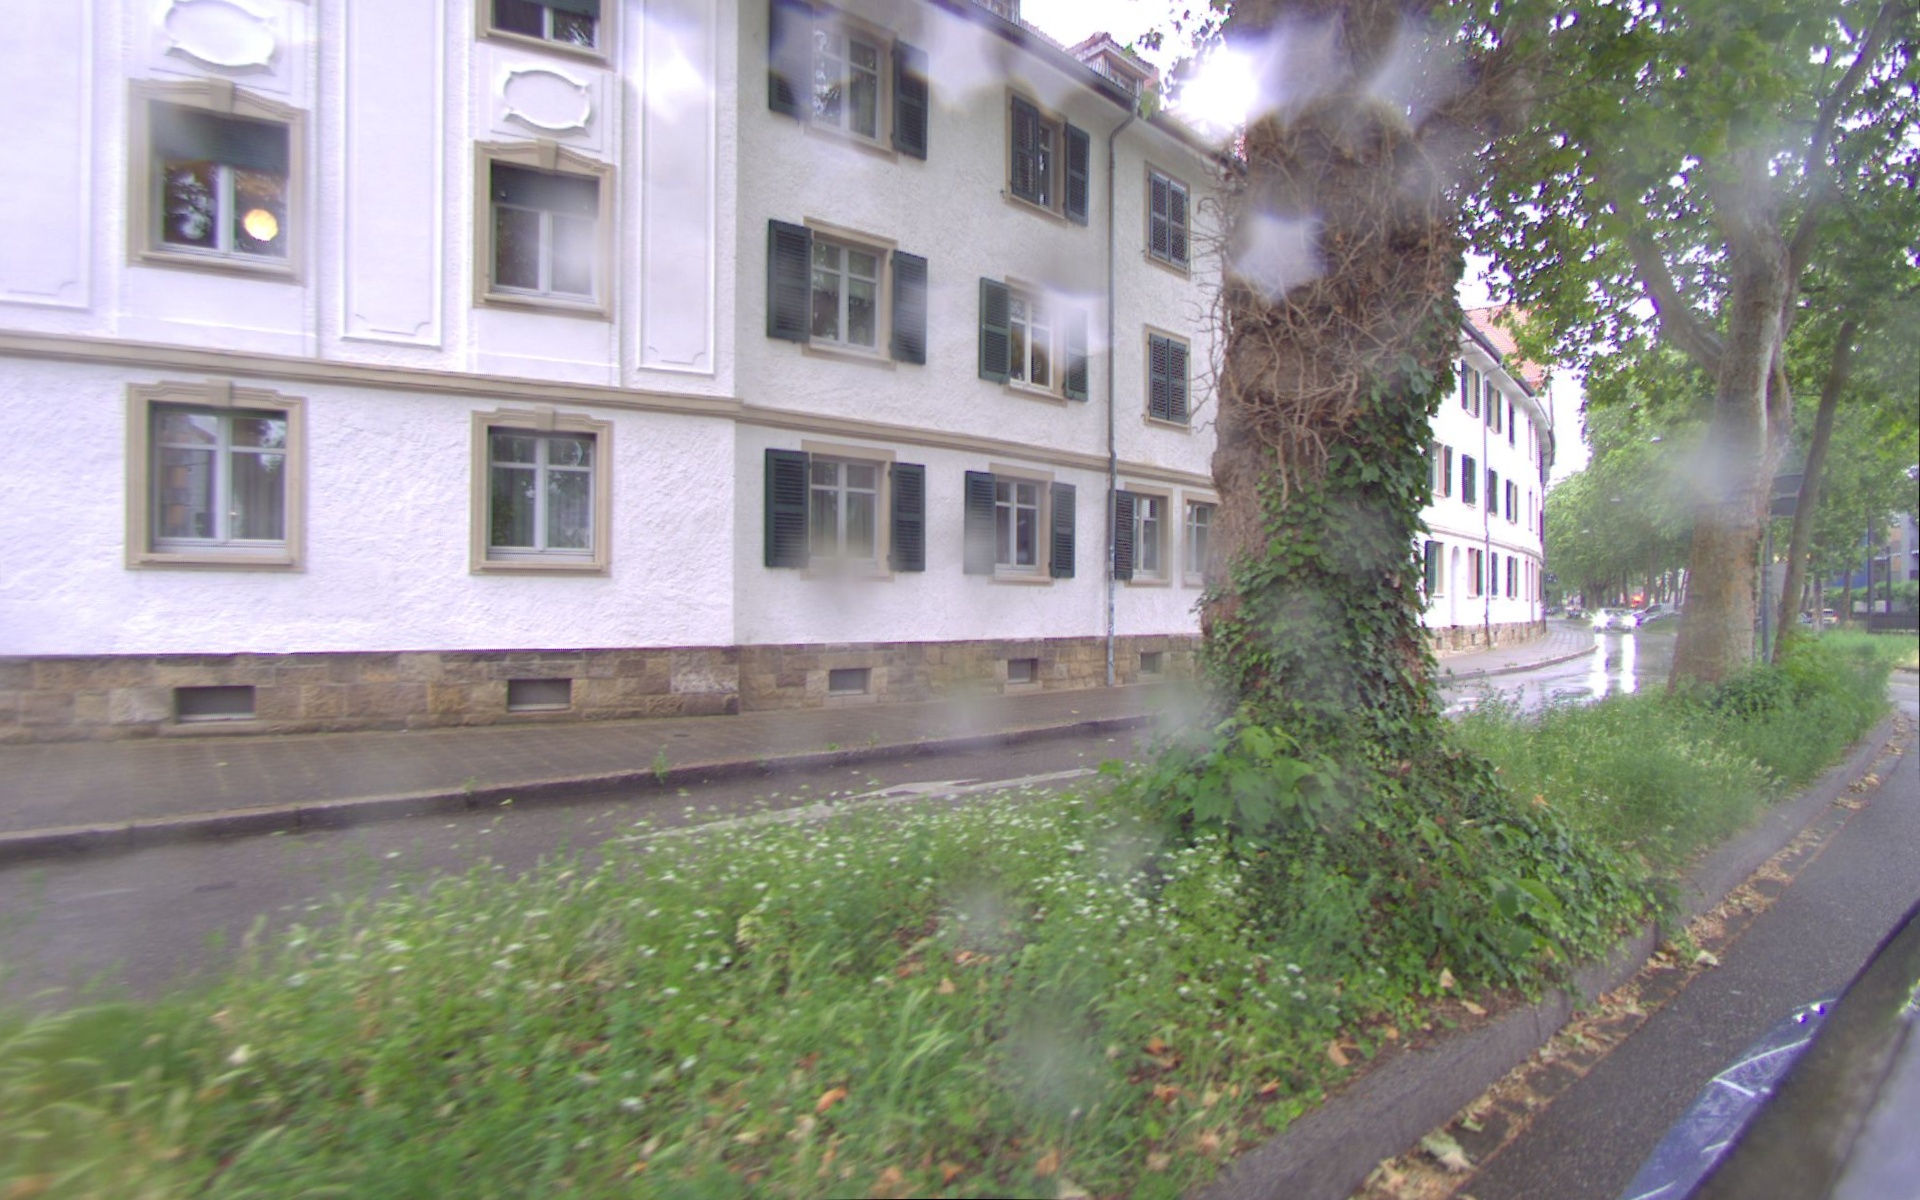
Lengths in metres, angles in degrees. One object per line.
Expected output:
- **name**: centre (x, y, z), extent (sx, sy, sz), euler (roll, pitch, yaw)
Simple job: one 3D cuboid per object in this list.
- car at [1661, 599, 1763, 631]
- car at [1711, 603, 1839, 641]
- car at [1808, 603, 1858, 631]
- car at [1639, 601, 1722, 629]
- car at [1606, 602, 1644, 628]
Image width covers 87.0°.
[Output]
- **car**: centre (43.007, 0.831, 57.954), extent (1.715, 1.633, 4.335), euler (1, 1, -35)
- **car**: centre (37.724, 0.992, 46.951), extent (1.892, 1.560, 4.236), euler (1, 1, -30)
- **car**: centre (57.303, 1.082, 66.476), extent (1.678, 1.745, 3.655), euler (2, 1, 28)
- **car**: centre (56.349, 1.151, 79.236), extent (1.960, 2.039, 4.899), euler (1, 1, -30)
- **car**: centre (42.598, 0.938, 64.881), extent (1.837, 1.616, 4.169), euler (1, 0, 31)
